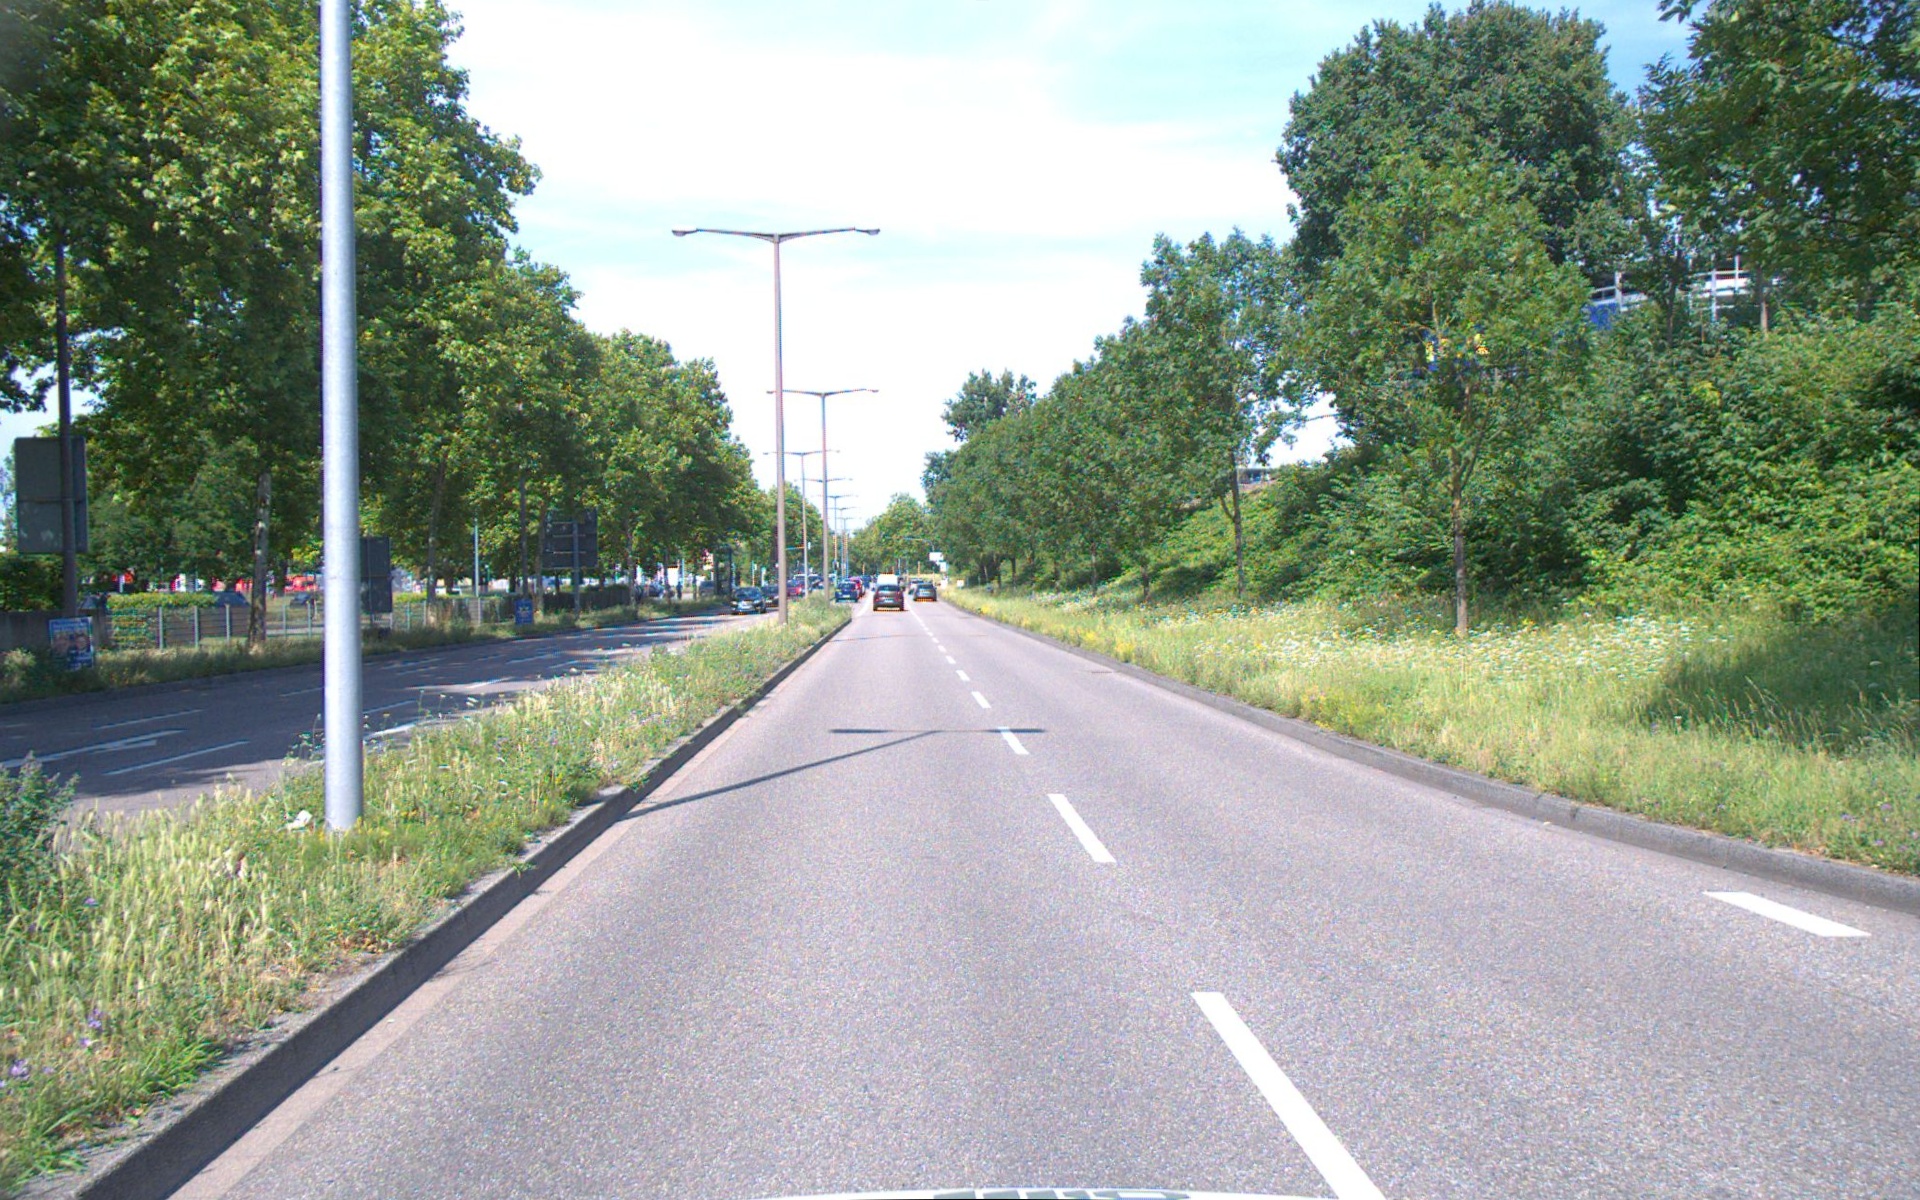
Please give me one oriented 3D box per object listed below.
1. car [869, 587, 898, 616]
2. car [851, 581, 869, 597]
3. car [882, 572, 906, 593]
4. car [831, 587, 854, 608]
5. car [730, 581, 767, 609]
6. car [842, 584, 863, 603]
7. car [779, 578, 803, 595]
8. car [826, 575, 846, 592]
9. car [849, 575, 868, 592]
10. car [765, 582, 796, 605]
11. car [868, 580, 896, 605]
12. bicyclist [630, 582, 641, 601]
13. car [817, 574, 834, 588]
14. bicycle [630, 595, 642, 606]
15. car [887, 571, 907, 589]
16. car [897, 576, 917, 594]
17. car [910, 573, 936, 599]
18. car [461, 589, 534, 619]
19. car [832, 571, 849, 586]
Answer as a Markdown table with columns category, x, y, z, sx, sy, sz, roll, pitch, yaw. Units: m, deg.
| category | x | y | z | sx | sy | sz | roll | pitch | yaw |
| --- | --- | --- | --- | --- | --- | --- | --- | --- | --- |
| car | -4.555 | 0.072 | 98.471 | 1.702 | 1.562 | 4.000 | 0 | 3 | -2 |
| car | -10.243 | -1.116 | 169.598 | 1.844 | 1.646 | 4.210 | 0 | 1 | -3 |
| car | -5.656 | -1.473 | 142.344 | 1.953 | 1.738 | 4.261 | -1 | 1 | -2 |
| car | -8.753 | -0.220 | 123.067 | 1.594 | 1.509 | 4.046 | 1 | 1 | -3 |
| car | -12.045 | -0.309 | 94.559 | 1.791 | 1.493 | 4.984 | -1 | 0 | -4 |
| car | -9.469 | -0.622 | 146.085 | 1.747 | 1.620 | 4.591 | 0 | 1 | -3 |
| car | -14.983 | -1.195 | 146.667 | 1.728 | 1.488 | 3.999 | -2 | 1 | -2 |
| car | -13.413 | -1.779 | 178.622 | 1.954 | 1.738 | 4.261 | -1 | 1 | -3 |
| car | -9.494 | -1.570 | 155.442 | 1.731 | 1.505 | 4.133 | 1 | 1 | -3 |
| car | -12.313 | -0.479 | 113.563 | 1.737 | 1.493 | 4.669 | -2 | 0 | -2 |
| car | -5.757 | -0.570 | 121.977 | 1.954 | 1.713 | 3.998 | -1 | 1 | -3 |
| bicyclist | -25.845 | -0.649 | 131.853 | 0.667 | 1.511 | 0.941 | -1 | 0 | -3 |
| car | -18.209 | -2.591 | 223.552 | 1.953 | 1.806 | 4.000 | -1 | 0 | 0 |
| bicycle | -25.810 | 0.049 | 131.707 | 0.676 | 0.881 | 1.925 | -1 | 0 | -2 |
| car | -7.348 | -2.320 | 192.410 | 1.955 | 2.049 | 3.995 | -1 | 0 | -6 |
| car | -5.305 | -1.474 | 166.456 | 1.954 | 1.738 | 4.261 | -1 | 1 | -3 |
| car | -2.918 | -1.148 | 130.676 | 1.977 | 1.869 | 4.000 | 0 | 3 | -2 |
| car | -28.761 | 0.237 | 102.912 | 3.904 | 1.855 | 2.157 | 0 | 0 | 1 |
| car | -15.616 | -2.798 | 216.729 | 1.953 | 1.892 | 3.999 | -1 | 1 | -1 |
